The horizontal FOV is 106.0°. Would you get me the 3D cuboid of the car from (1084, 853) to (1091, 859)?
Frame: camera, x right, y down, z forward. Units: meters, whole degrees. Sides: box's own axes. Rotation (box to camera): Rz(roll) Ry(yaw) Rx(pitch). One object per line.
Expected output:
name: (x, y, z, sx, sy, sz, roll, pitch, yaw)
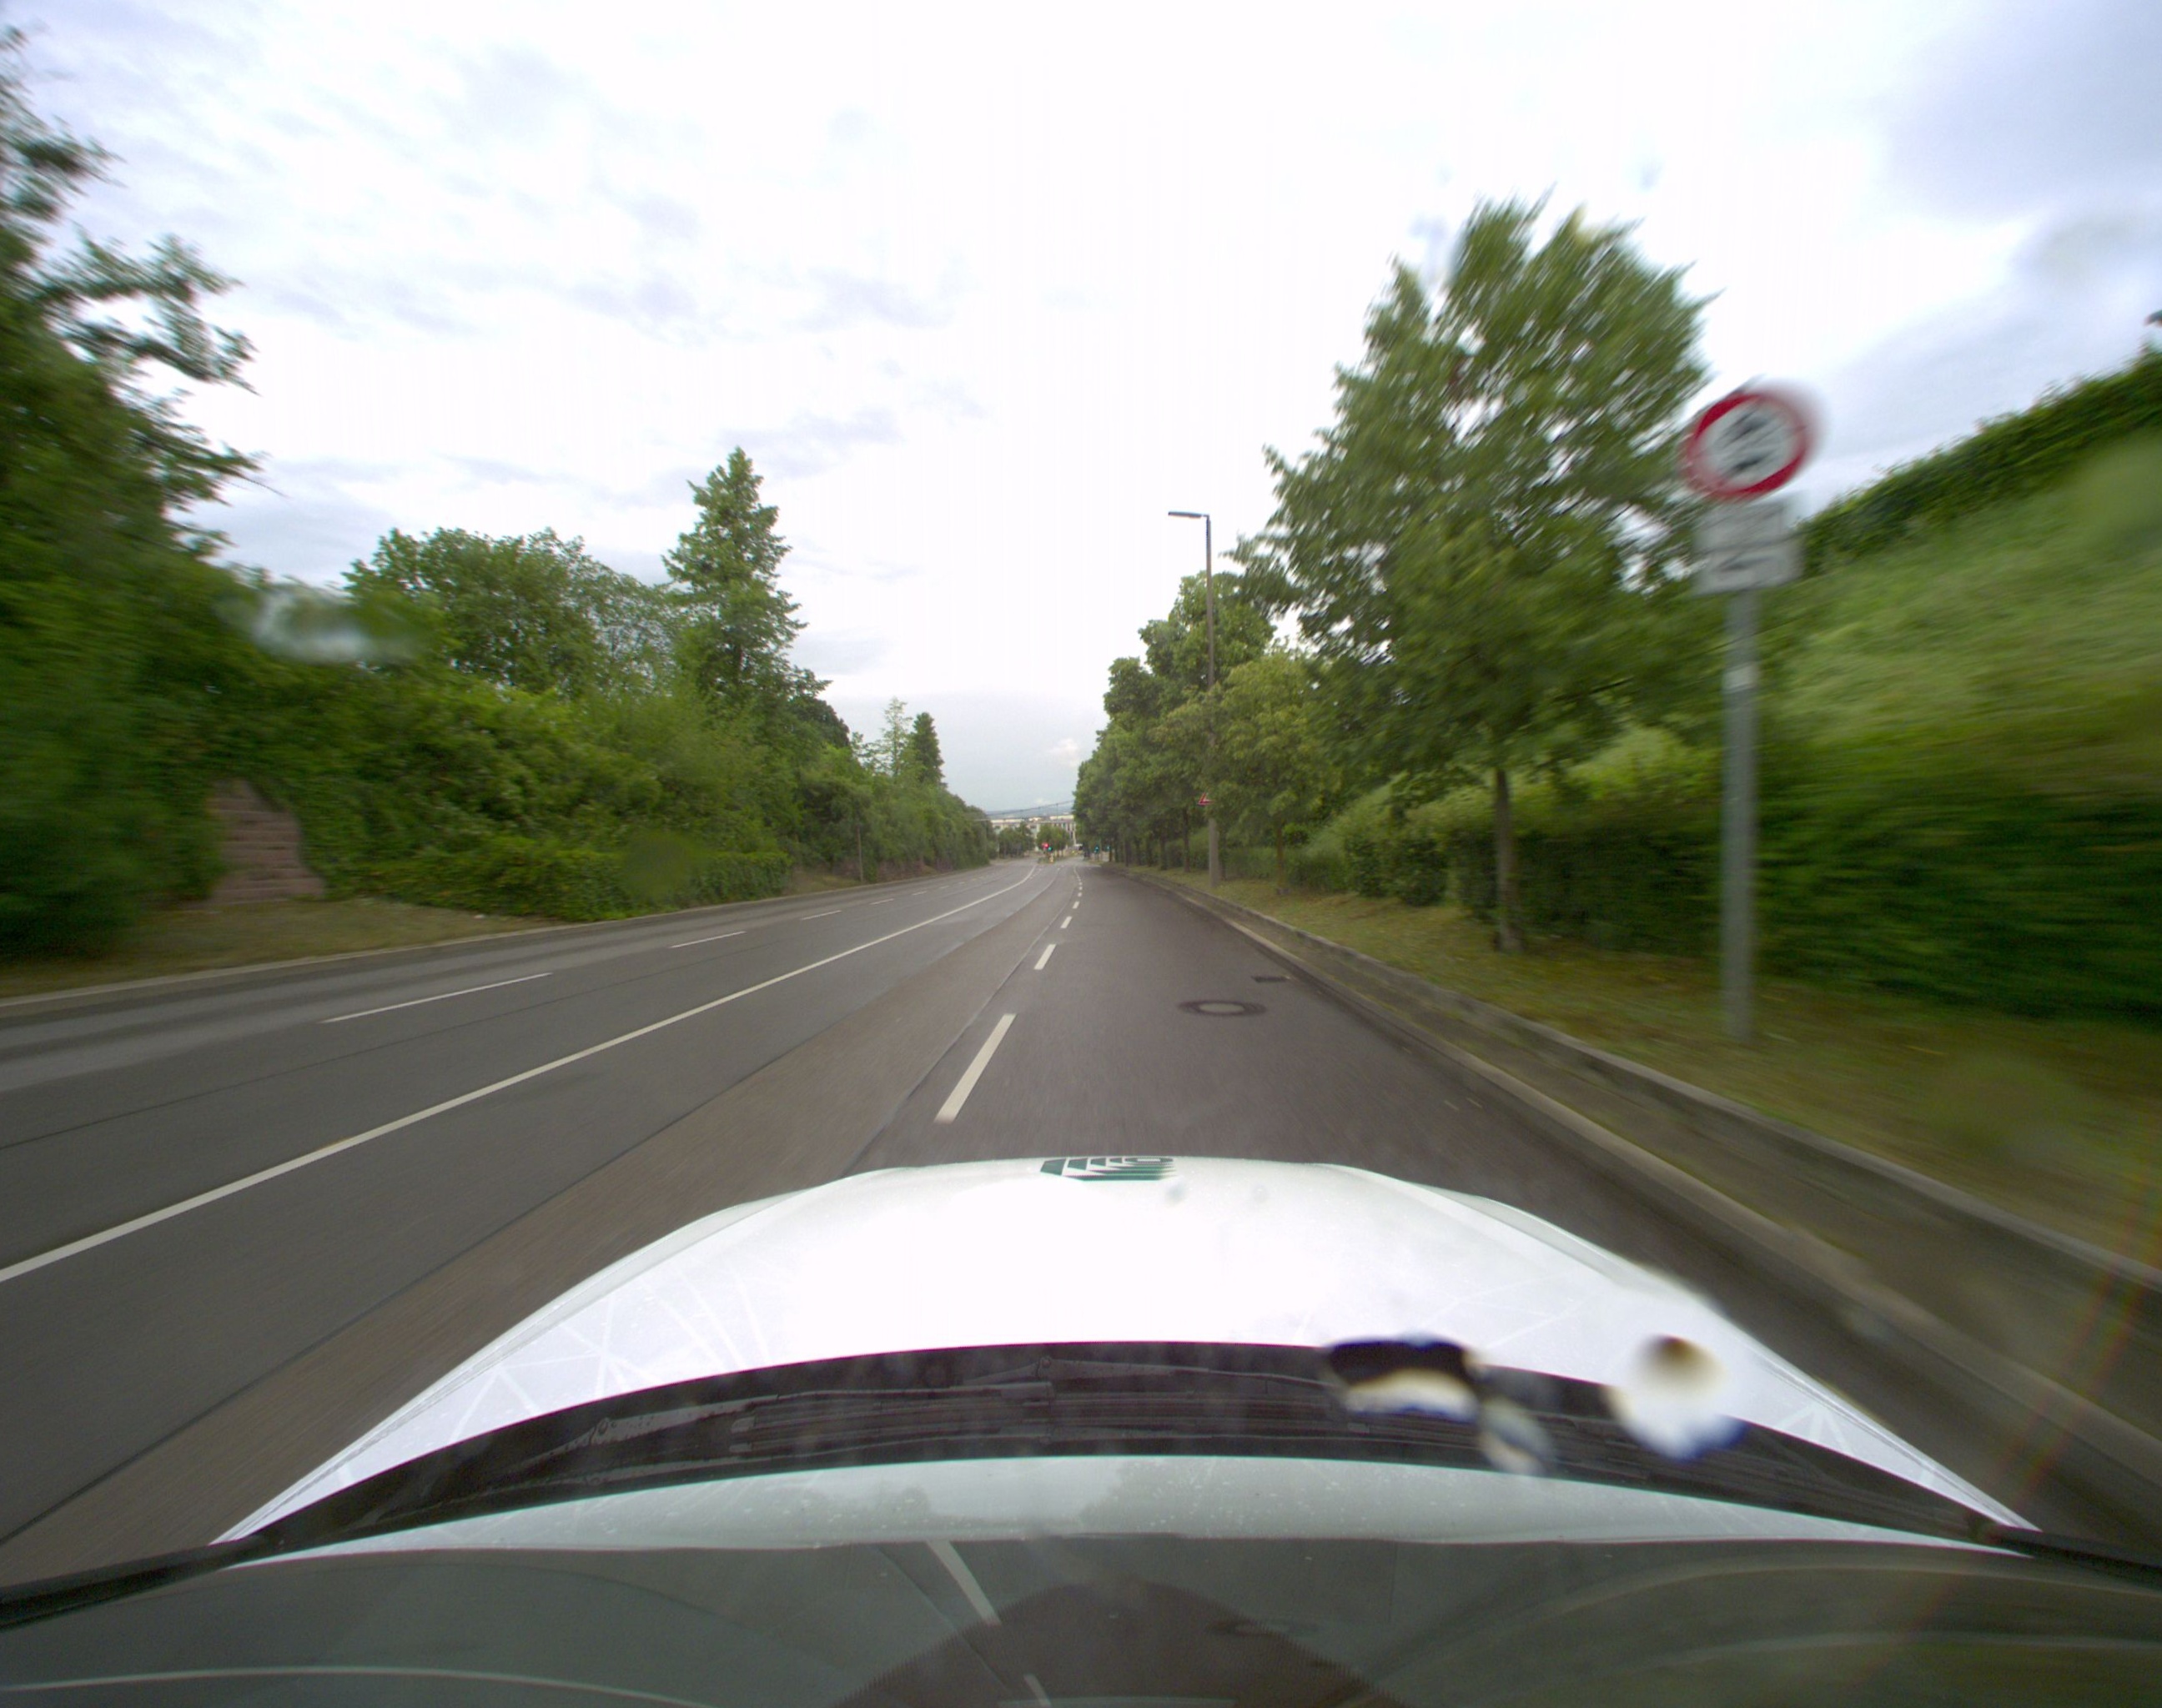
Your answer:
car: (1.779, 0.525, 230.765, 1.841, 1.702, 3.797, 0, -1, 4)
